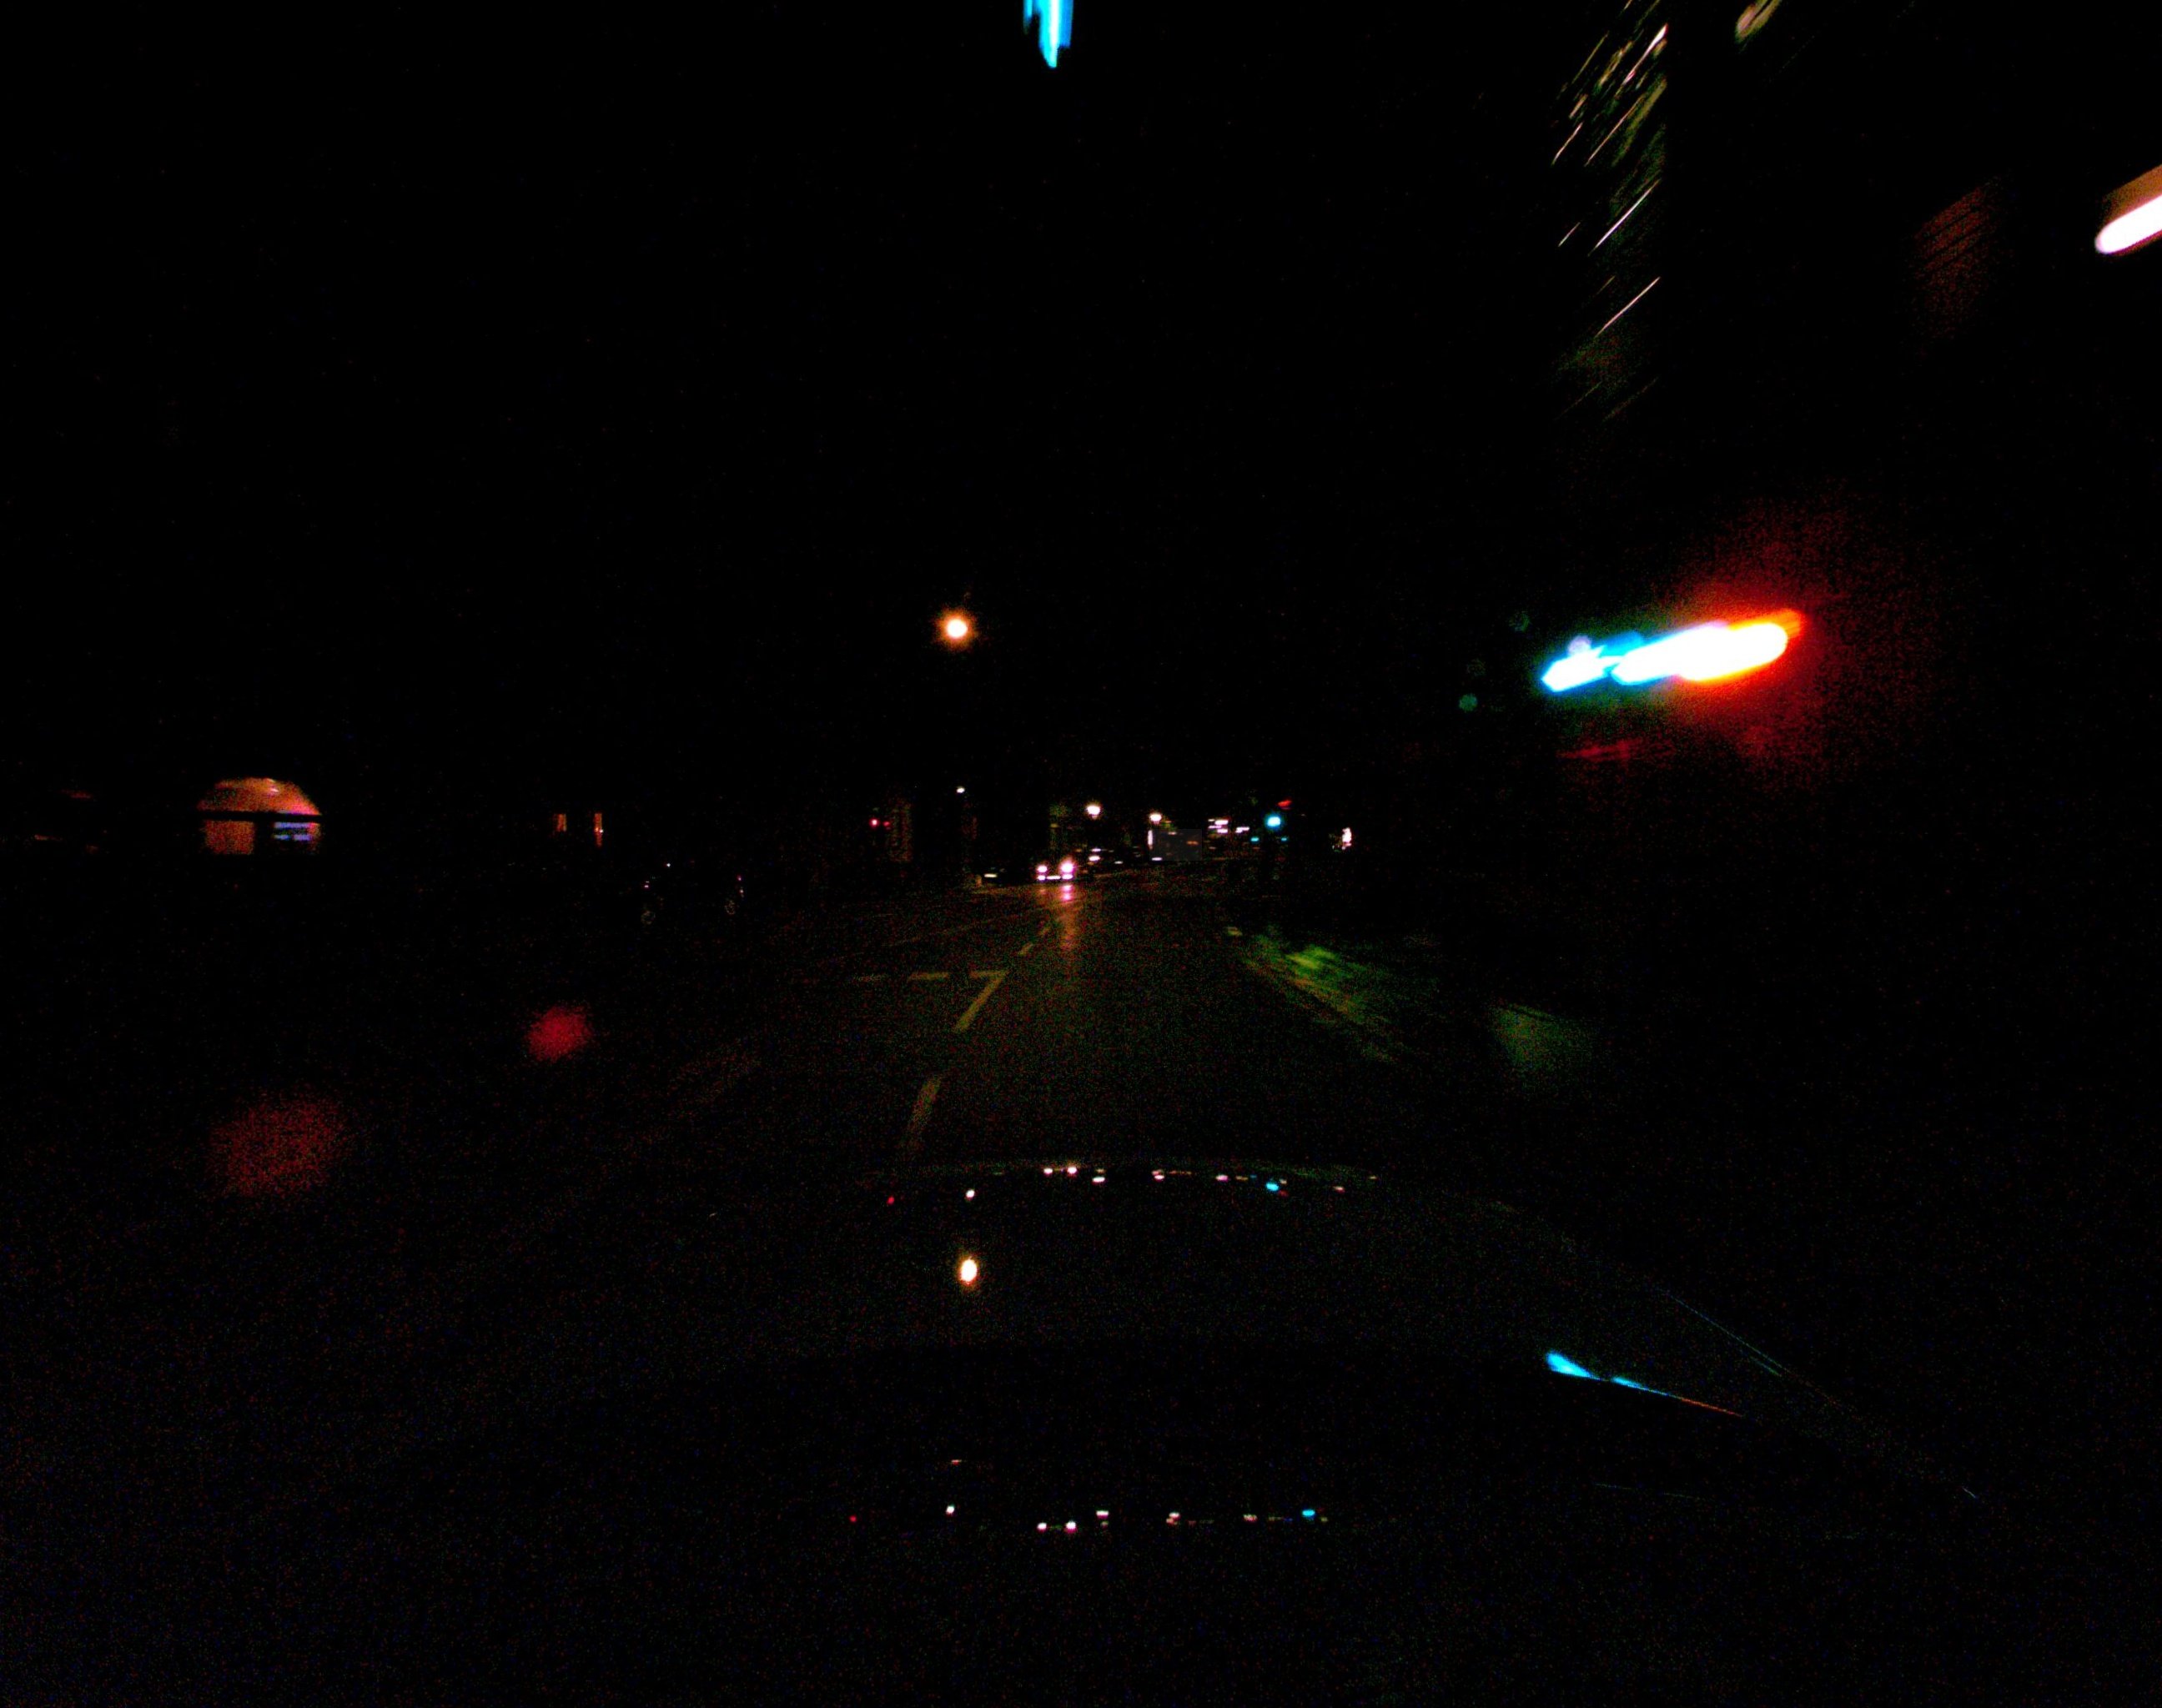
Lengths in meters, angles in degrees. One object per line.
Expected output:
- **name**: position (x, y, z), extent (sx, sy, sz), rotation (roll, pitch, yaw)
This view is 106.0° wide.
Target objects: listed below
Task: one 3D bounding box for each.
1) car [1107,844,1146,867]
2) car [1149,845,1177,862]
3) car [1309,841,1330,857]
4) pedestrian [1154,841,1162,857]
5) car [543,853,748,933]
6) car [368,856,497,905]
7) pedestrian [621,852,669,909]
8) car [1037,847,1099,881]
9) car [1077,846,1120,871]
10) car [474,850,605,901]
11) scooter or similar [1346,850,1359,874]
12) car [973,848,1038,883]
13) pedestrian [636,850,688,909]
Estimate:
- **car**: position (3.426, 0.052, 61.027), extent (1.770, 1.581, 4.432), rotation (2, 2, 18)
- **car**: position (7.397, -0.038, 73.207), extent (1.771, 1.415, 4.144), rotation (0, 1, 16)
- **car**: position (22.786, -0.488, 77.938), extent (1.721, 1.459, 4.745), rotation (-1, 1, 13)
- **pedestrian**: position (9.333, -0.595, 98.411), extent (0.728, 1.822, 0.686), rotation (1, -1, -29)
- **car**: position (-10.011, 0.804, 19.102), extent (1.871, 1.596, 4.043), rotation (0, 1, 19)
- **car**: position (-25.252, 1.012, 31.735), extent (3.957, 1.775, 1.909), rotation (-1, 0, 15)
- **pedestrian**: position (-13.209, 0.791, 24.679), extent (0.703, 1.690, 1.004), rotation (-2, 0, 27)
- **car**: position (-0.562, 0.455, 38.583), extent (1.701, 1.429, 4.019), rotation (-3, 0, 18)
- **car**: position (1.186, 0.233, 53.292), extent (1.771, 1.491, 4.017), rotation (1, 2, 16)
- **car**: position (-20.345, 0.796, 30.644), extent (3.957, 1.775, 1.909), rotation (-1, 0, 15)
- **scooter or similar**: position (13.749, 0.389, 41.253), extent (0.418, 1.130, 1.502), rotation (-2, 0, 25)
- **car**: position (-3.570, 0.508, 39.264), extent (1.579, 1.491, 3.719), rotation (2, 2, 22)
- **pedestrian**: position (-12.415, 0.745, 24.162), extent (0.703, 1.690, 1.131), rotation (-2, 0, 27)
